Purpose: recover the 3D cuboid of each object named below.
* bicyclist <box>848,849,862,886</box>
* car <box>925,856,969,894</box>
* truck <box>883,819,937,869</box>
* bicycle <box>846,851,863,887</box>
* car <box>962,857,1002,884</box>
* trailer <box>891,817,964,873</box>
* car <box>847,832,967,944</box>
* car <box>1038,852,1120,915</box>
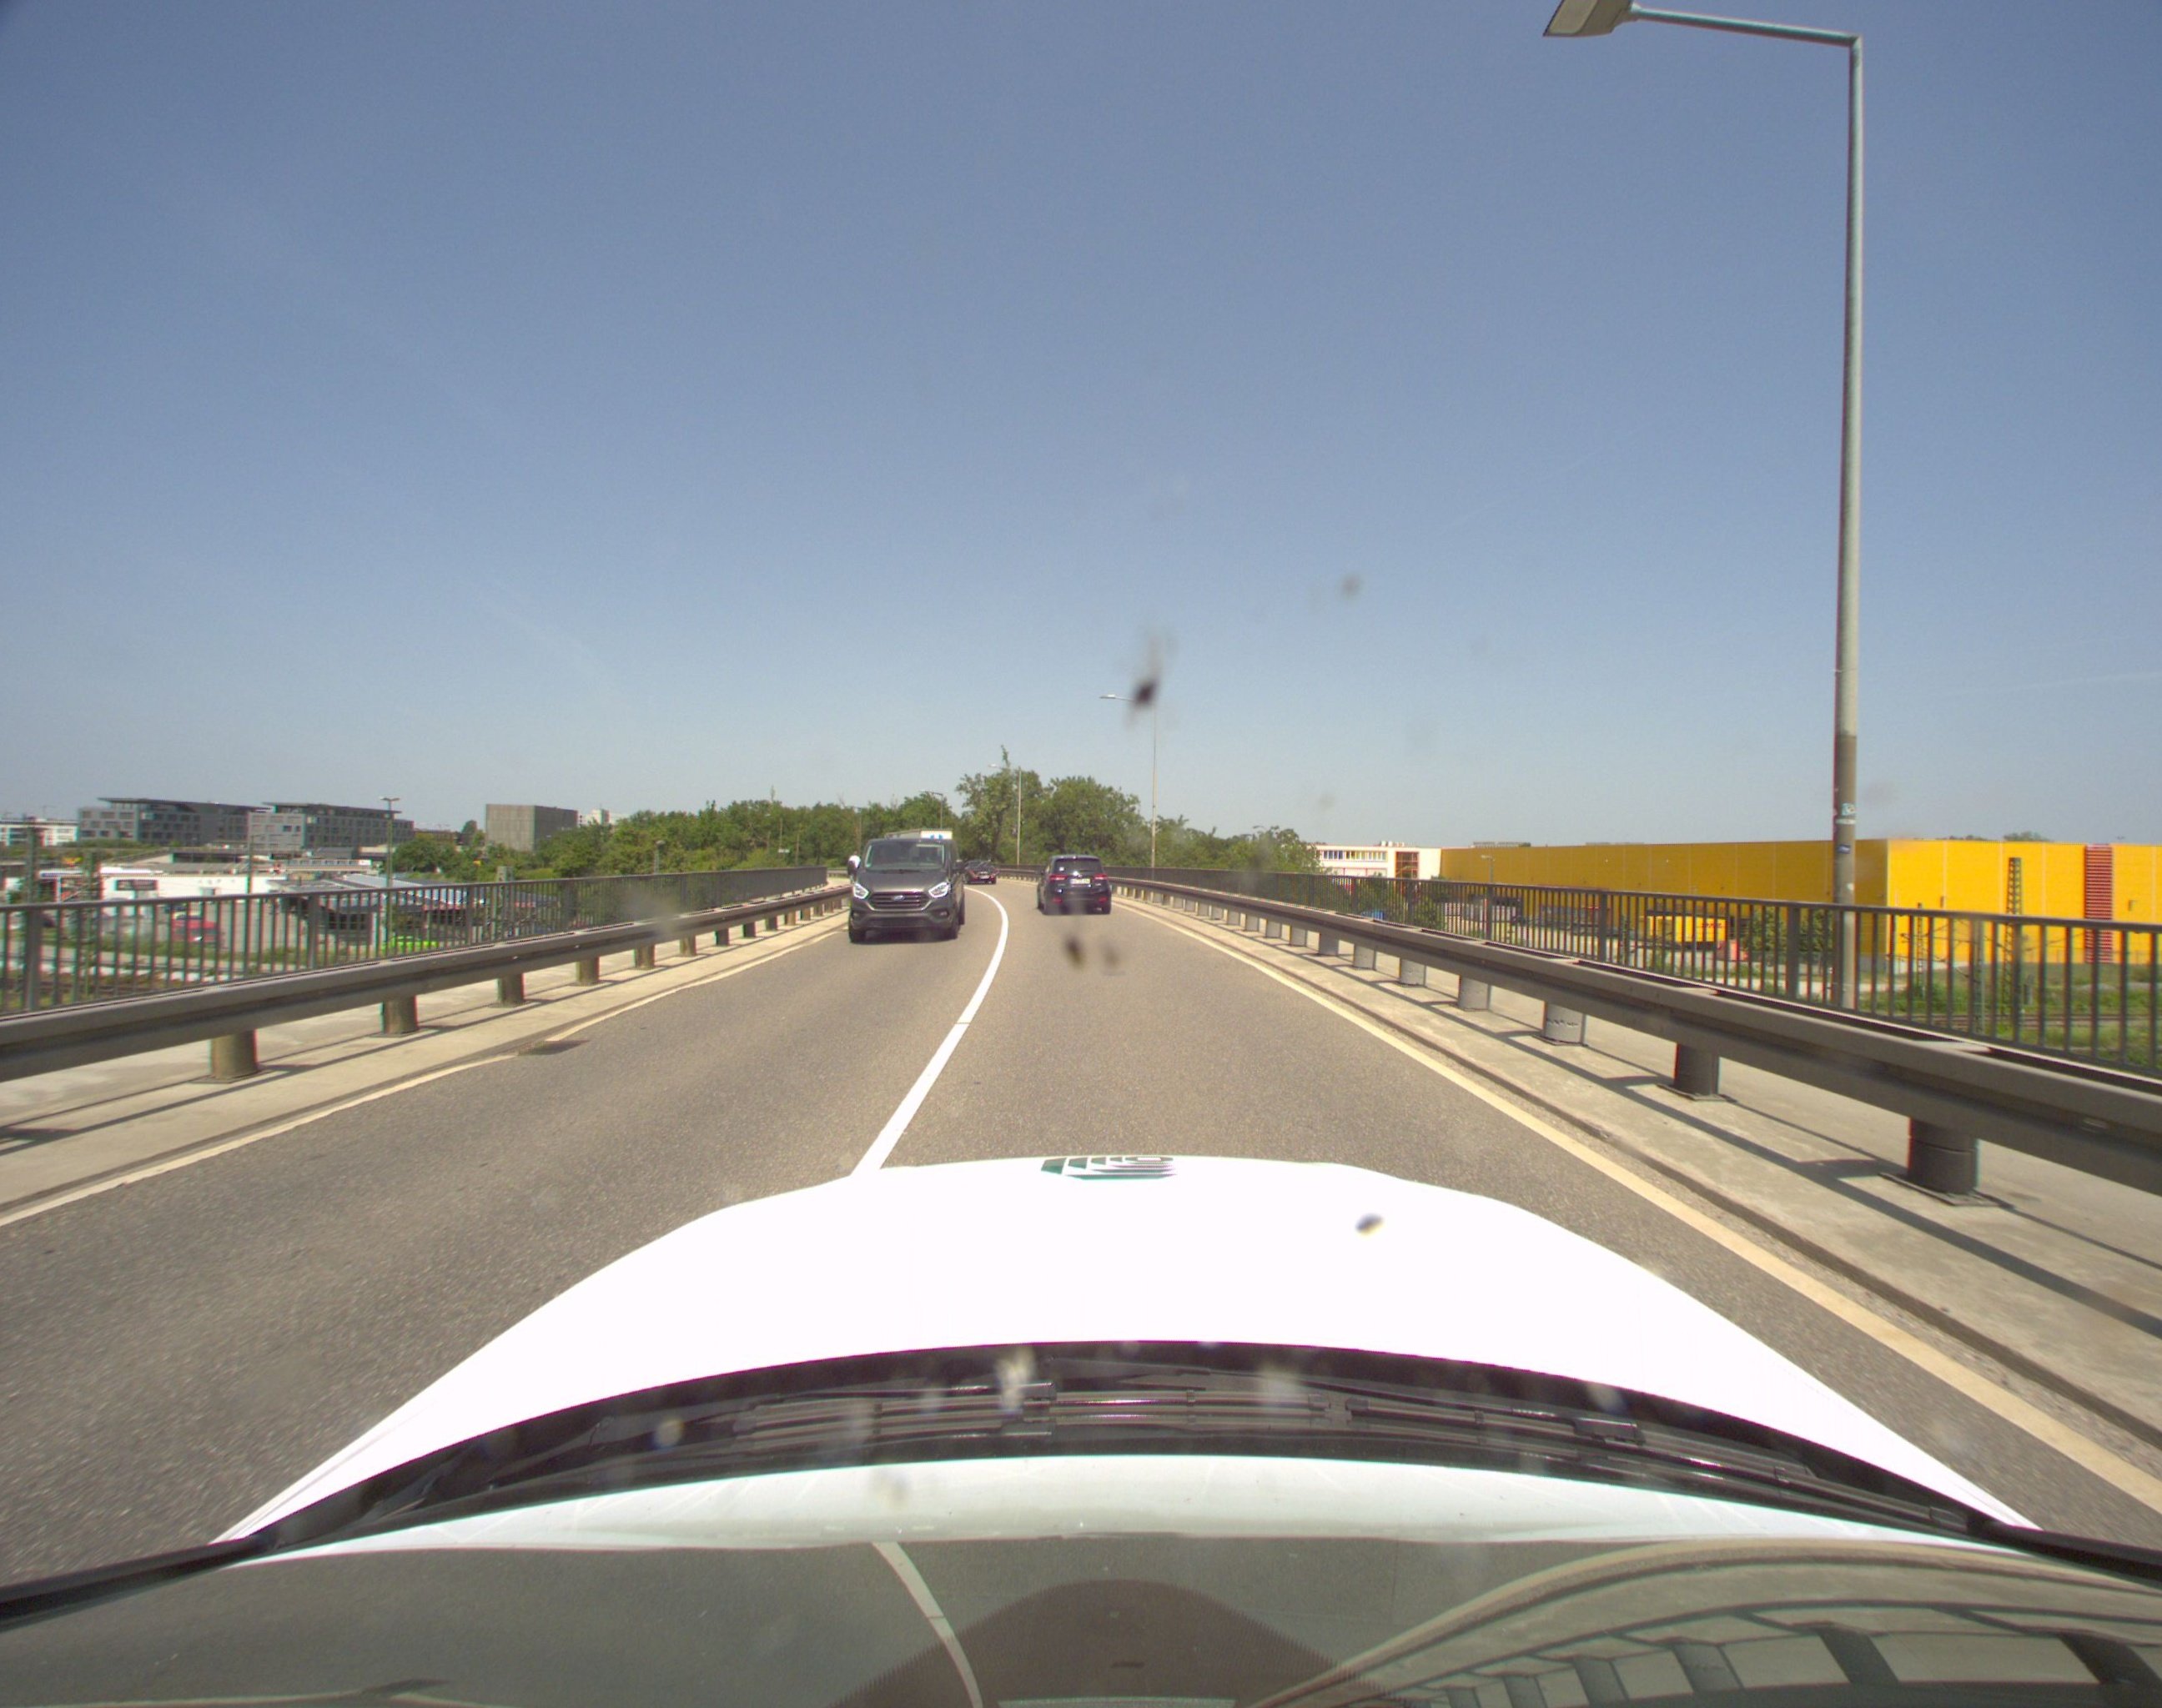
[{"bbox_3d":[-11.533,0.672,41.489,0.626,1.886,0.708,0,0,-20],"label":"bicyclist"},{"bbox_3d":[-6.312,0.943,37.955,1.893,1.596,4.470,0,0,-11],"label":"car"},{"bbox_3d":[-15.888,-0.915,75.301,3.588,4.440,6.465,-1,0,-23],"label":"truck"},{"bbox_3d":[-11.510,0.734,41.390,0.700,1.801,2.167,0,0,-18],"label":"bicycle"},{"bbox_3d":[-5.929,0.951,48.397,2.013,1.429,3.761,0,0,-12],"label":"car"},{"bbox_3d":[-13.266,-0.732,69.410,3.586,4.384,11.349,-1,0,-24],"label":"trailer"},{"bbox_3d":[-3.464,0.635,17.150,2.005,1.959,5.257,-1,-1,-7],"label":"car"},{"bbox_3d":[-0.139,0.735,22.717,1.919,1.574,3.884,0,0,-6],"label":"car"}]
